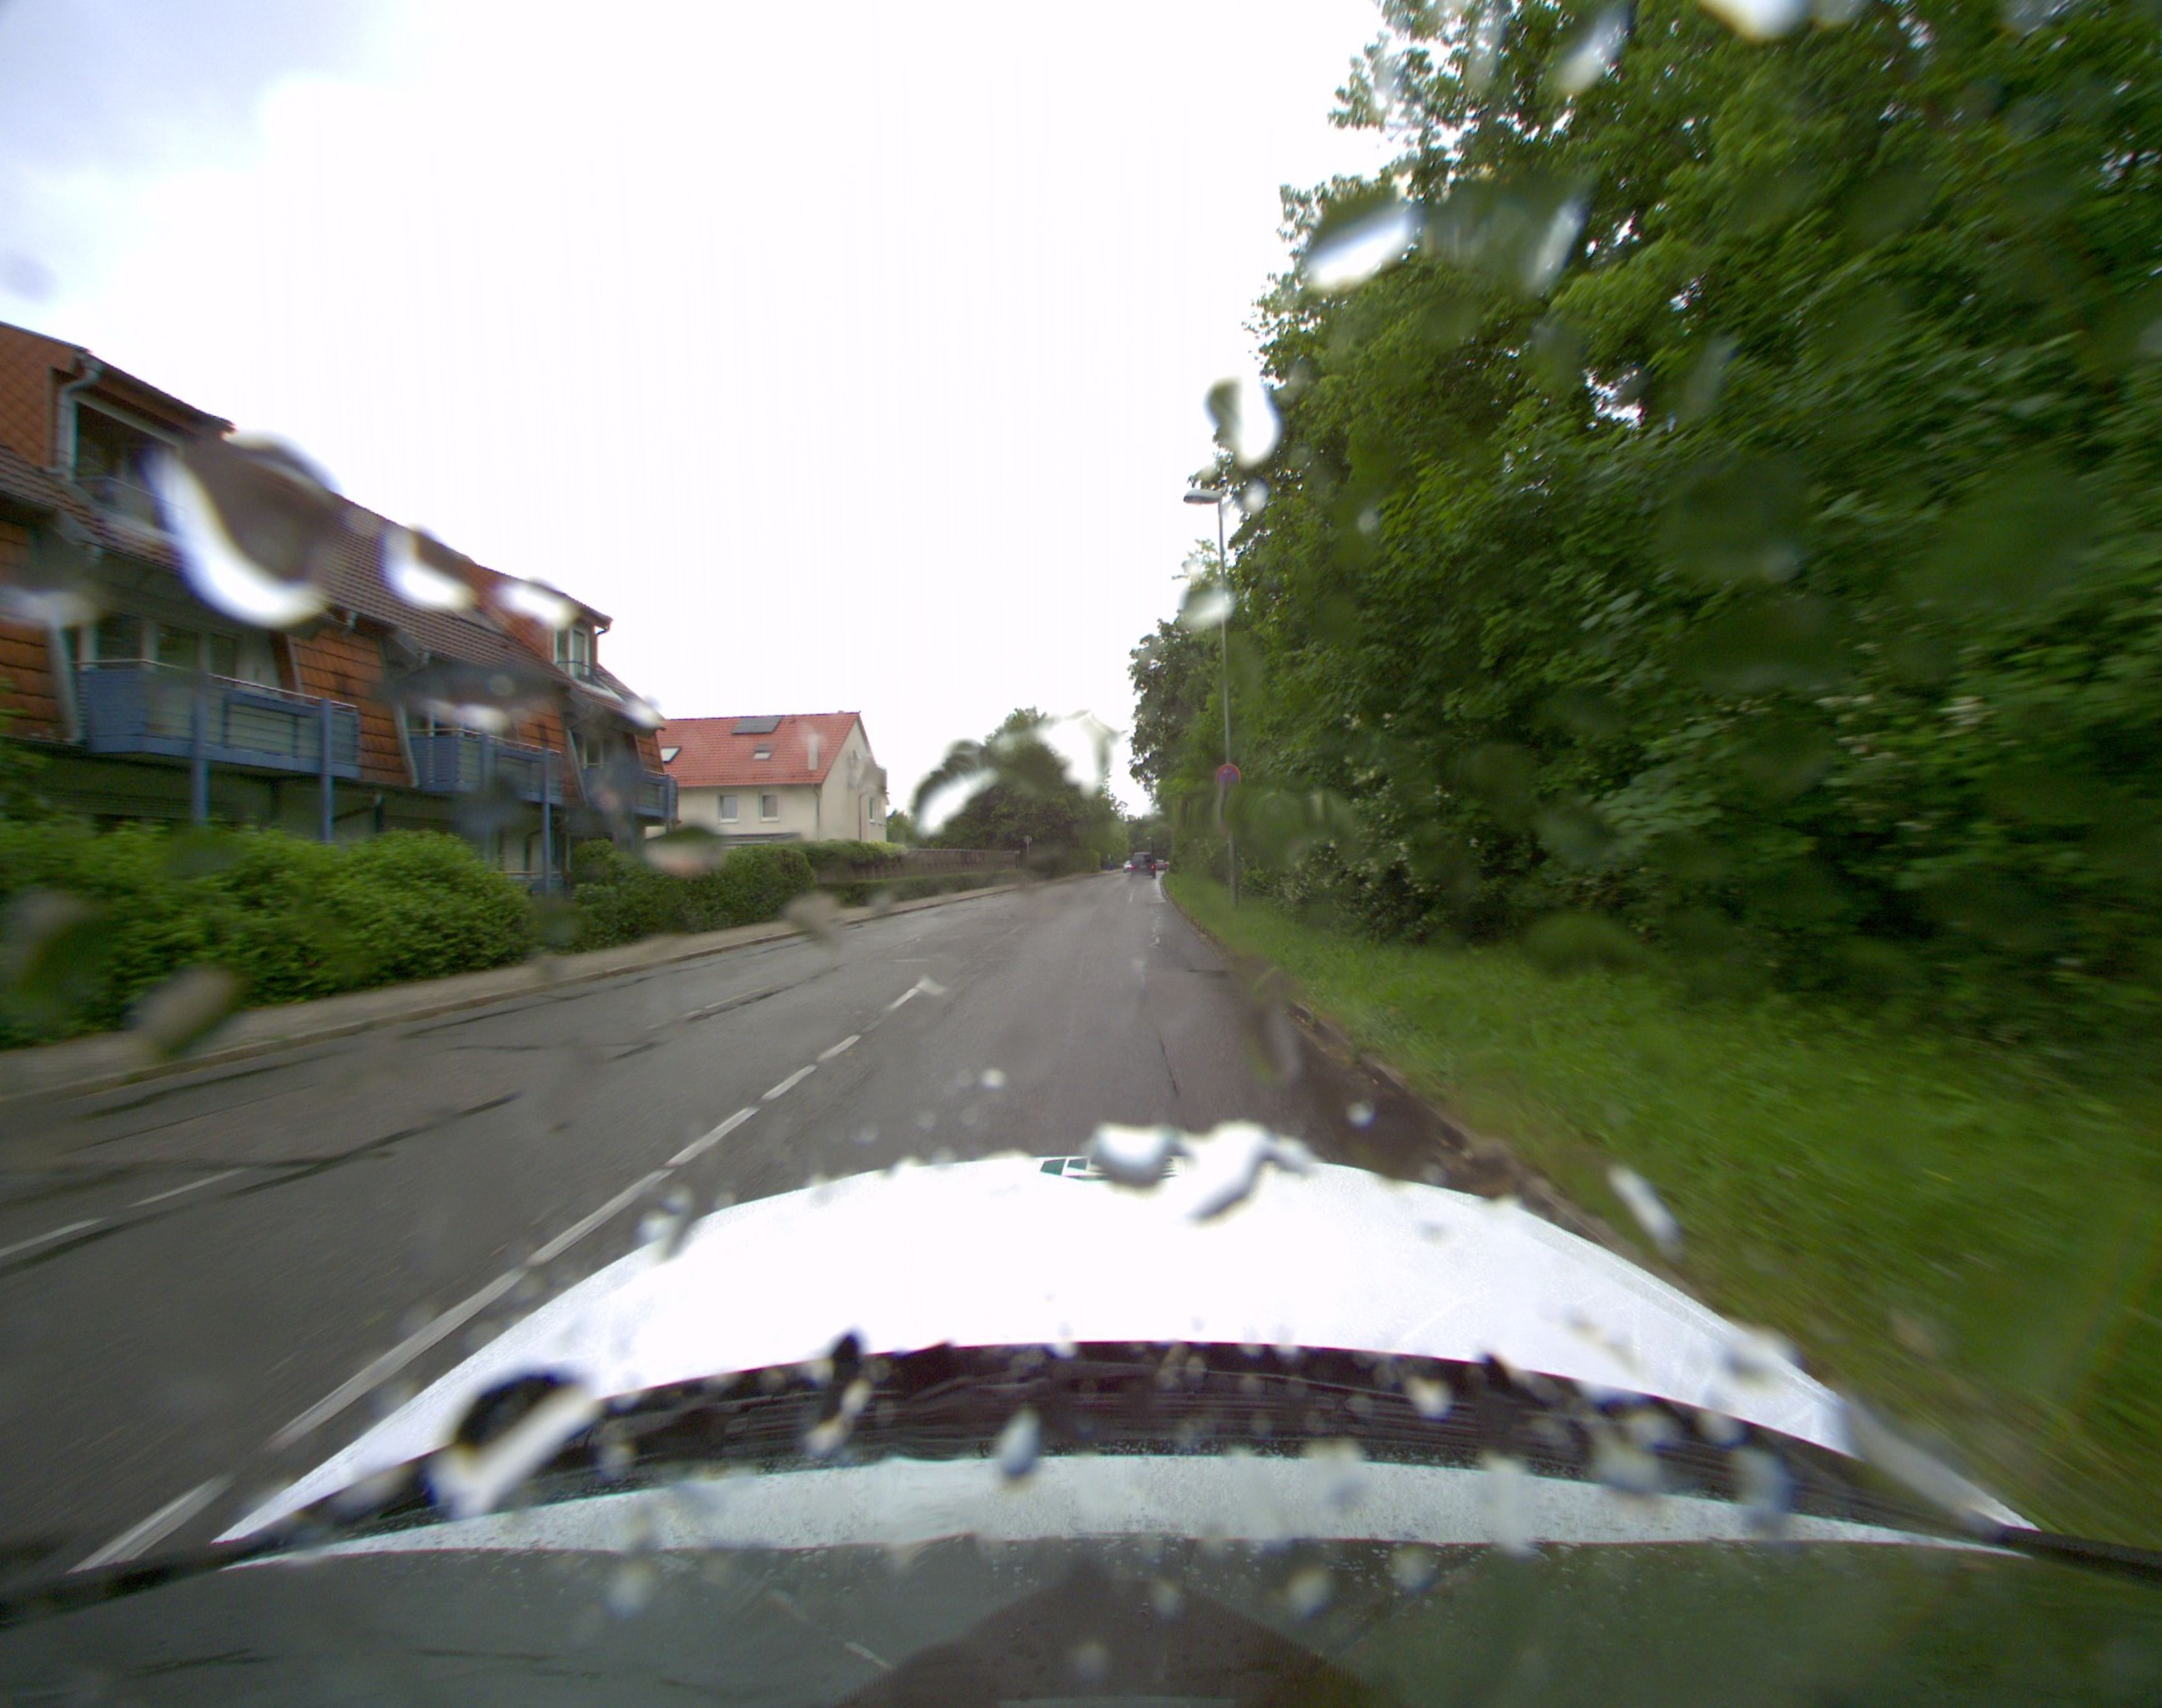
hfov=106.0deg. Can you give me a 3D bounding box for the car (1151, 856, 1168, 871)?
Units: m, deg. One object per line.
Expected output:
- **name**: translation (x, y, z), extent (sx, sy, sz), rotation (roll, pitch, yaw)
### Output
- **car**: translation (10.167, 1.247, 105.731), extent (1.939, 1.749, 4.010), rotation (-2, 1, 8)

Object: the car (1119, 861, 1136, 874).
- **car**: translation (5.854, 1.662, 102.056), extent (1.984, 1.420, 4.492), rotation (-3, 0, 5)

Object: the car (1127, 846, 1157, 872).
- **car**: translation (4.462, 0.345, 59.379), extent (1.983, 1.793, 4.008), rotation (1, 1, 6)
